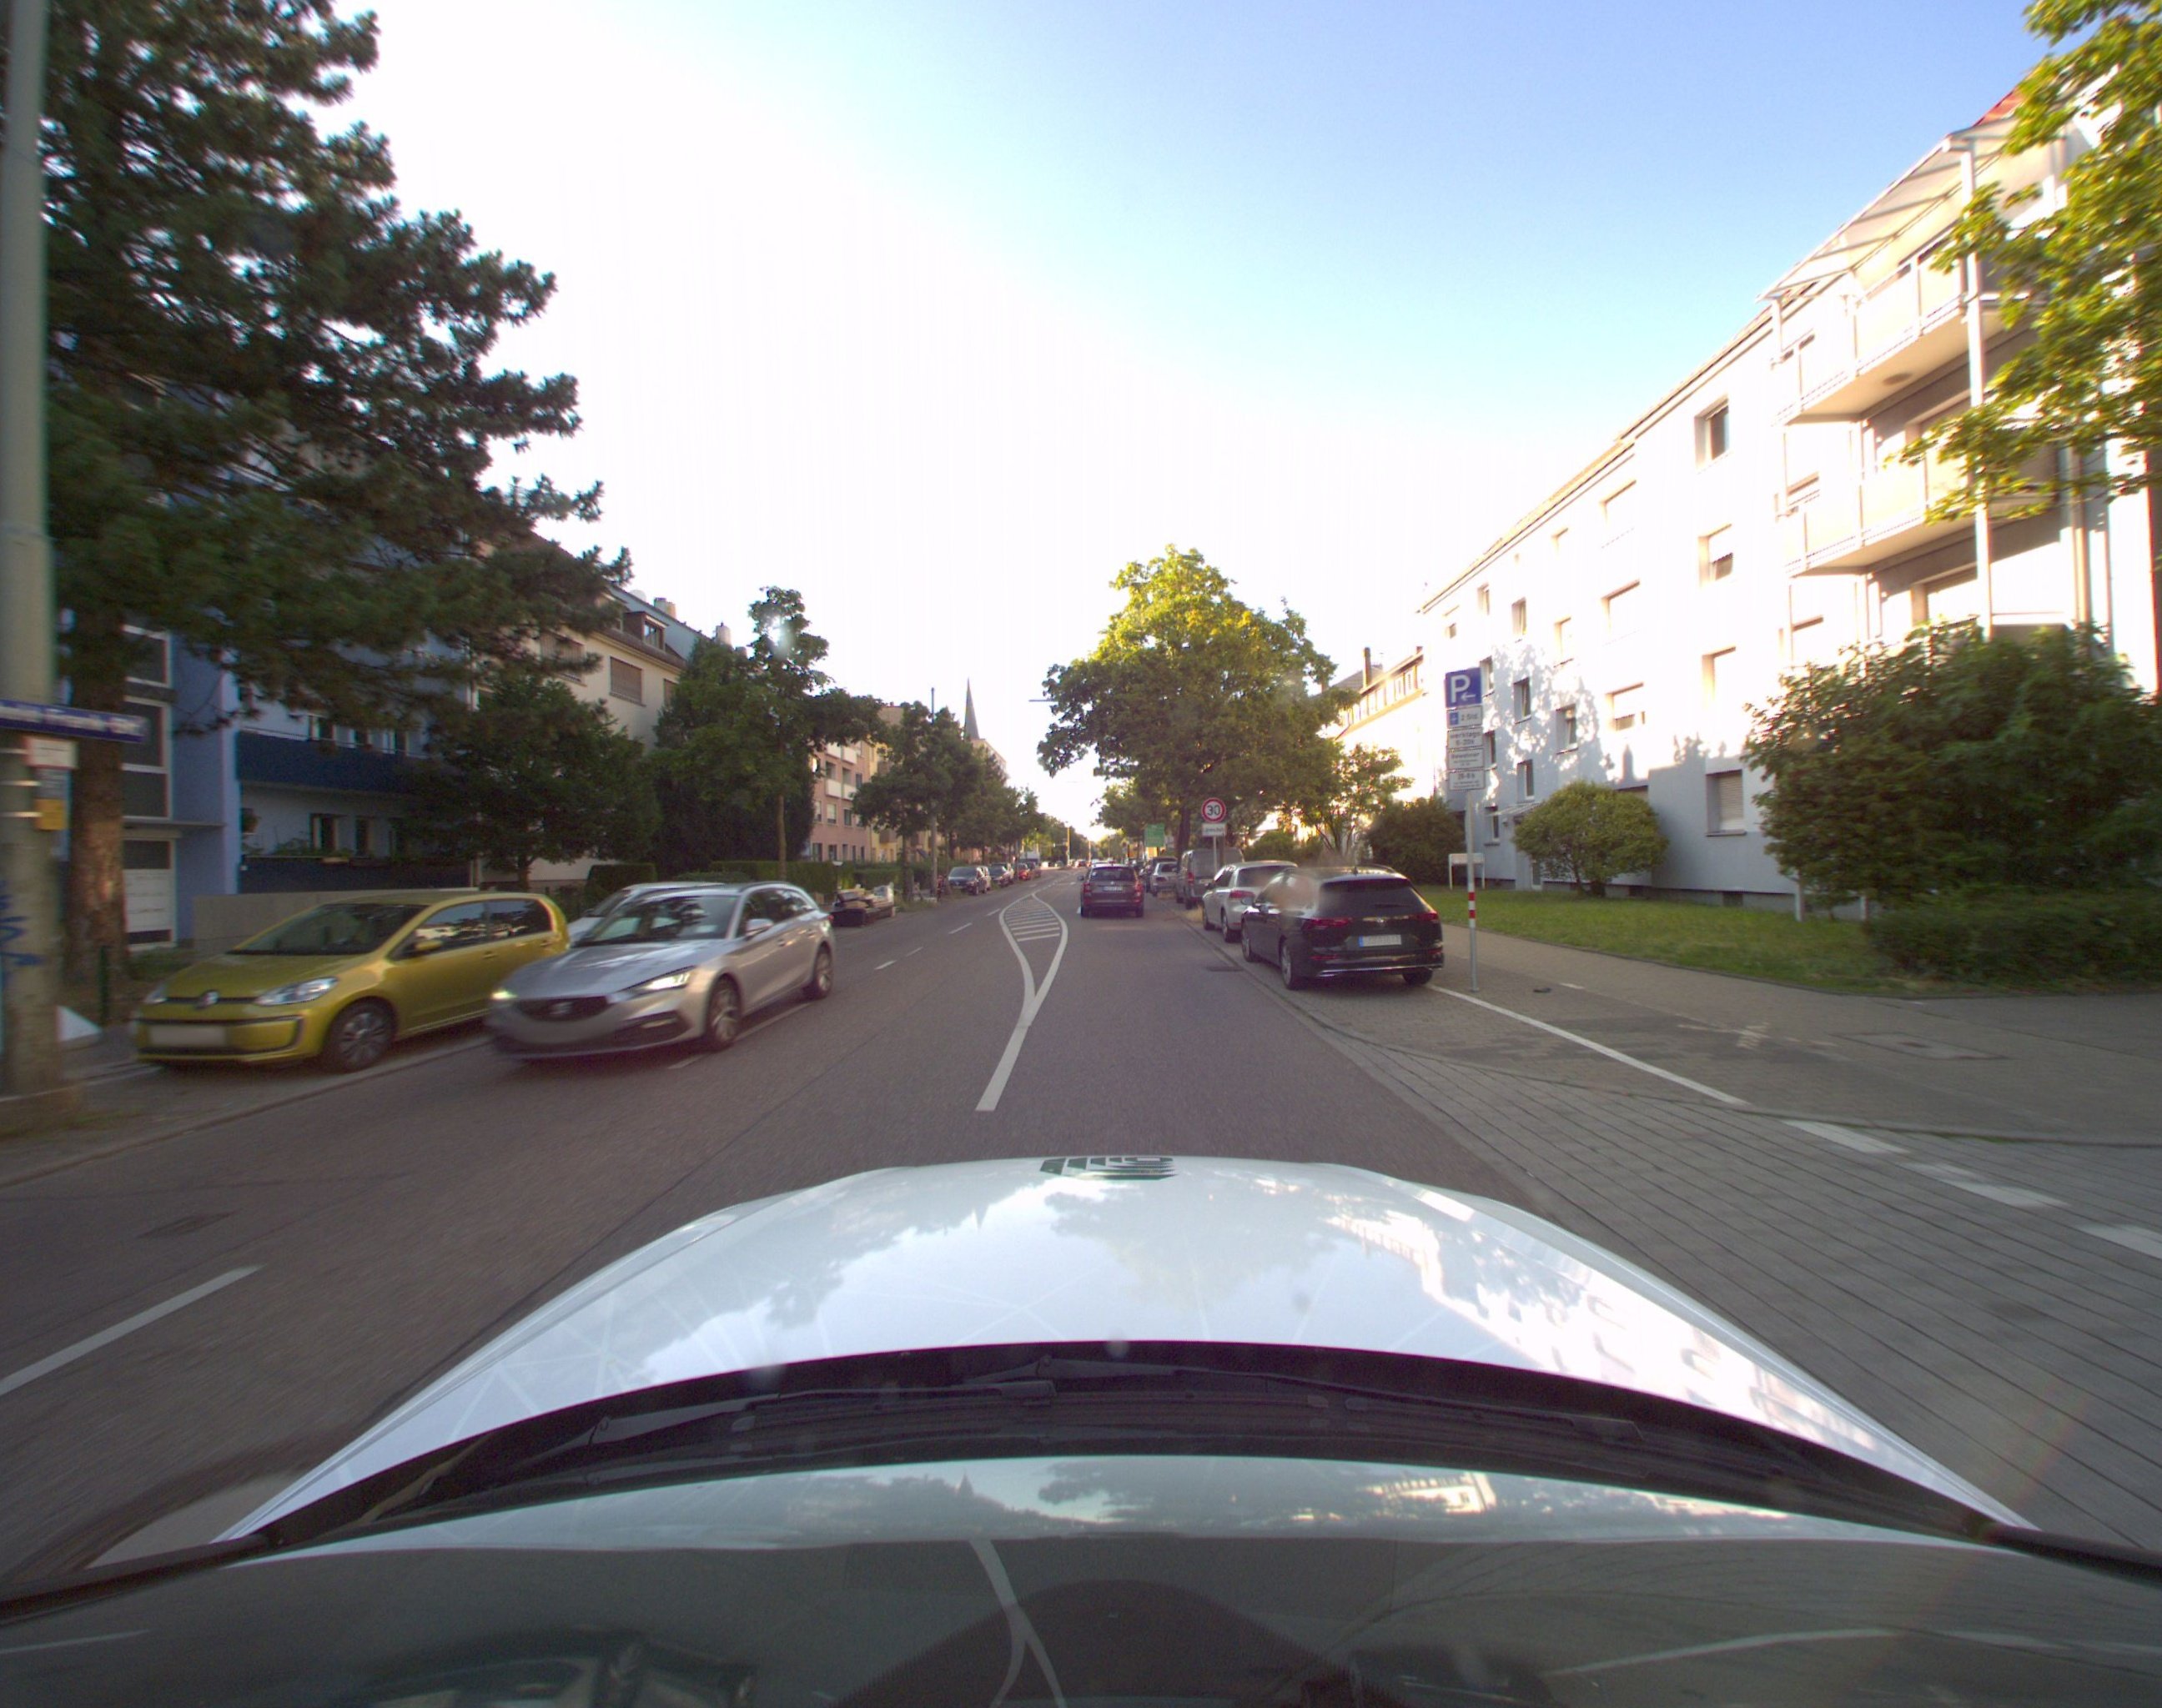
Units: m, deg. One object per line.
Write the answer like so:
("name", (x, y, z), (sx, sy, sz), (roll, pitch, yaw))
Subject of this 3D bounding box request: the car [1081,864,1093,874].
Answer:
("car", (0.975, 2.384, 129.410), (1.776, 1.480, 3.968), (0, 0, -2))

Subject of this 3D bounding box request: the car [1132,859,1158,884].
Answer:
("car", (4.616, 1.233, 58.956), (1.747, 1.806, 4.003), (0, 0, 3))

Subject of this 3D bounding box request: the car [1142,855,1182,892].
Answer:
("car", (3.902, 0.903, 39.629), (1.747, 1.715, 4.003), (0, 0, 3))

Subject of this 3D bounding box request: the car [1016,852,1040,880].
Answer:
("car", (-5.302, 1.194, 82.541), (1.984, 2.781, 5.504), (0, 0, 1))

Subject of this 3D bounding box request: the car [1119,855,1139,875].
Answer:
("car", (4.443, 1.009, 75.775), (1.747, 1.806, 4.002), (0, 0, 2))

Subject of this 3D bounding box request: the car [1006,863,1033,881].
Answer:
("car", (-5.284, 1.502, 69.967), (1.773, 1.480, 3.974), (0, 0, 4))

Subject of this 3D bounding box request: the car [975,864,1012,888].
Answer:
("car", (-5.734, 1.437, 53.798), (1.773, 1.480, 3.974), (0, 0, 4))

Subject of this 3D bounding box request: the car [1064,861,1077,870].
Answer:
("car", (-2.154, 2.313, 167.697), (1.995, 1.750, 3.983), (-1, -1, -12))

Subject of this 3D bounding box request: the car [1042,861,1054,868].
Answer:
("car", (-7.692, 2.399, 191.183), (1.652, 1.599, 3.572), (-1, -1, -23))

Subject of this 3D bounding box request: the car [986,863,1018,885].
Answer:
("car", (-5.732, 1.434, 59.498), (1.773, 1.480, 3.974), (0, 0, 4))

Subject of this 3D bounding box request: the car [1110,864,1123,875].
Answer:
("car", (5.359, 2.402, 123.291), (1.641, 1.599, 3.645), (-2, -1, -4))

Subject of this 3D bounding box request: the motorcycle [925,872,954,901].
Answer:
("motorcycle", (-6.130, 1.393, 35.318), (0.736, 1.204, 2.144), (0, 0, 4))

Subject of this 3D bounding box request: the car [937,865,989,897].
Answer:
("car", (-5.920, 1.334, 41.278), (1.773, 1.480, 4.037), (0, 0, 4))

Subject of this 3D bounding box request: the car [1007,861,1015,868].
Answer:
("car", (-18.101, 2.711, 209.988), (1.991, 1.750, 3.991), (-2, -1, -6))

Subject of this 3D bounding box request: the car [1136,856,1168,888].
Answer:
("car", (4.098, 1.020, 47.600), (1.747, 1.806, 4.003), (0, 0, 3))

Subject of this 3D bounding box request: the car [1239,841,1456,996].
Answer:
("car", (3.322, 0.717, 11.031), (1.747, 1.686, 4.255), (0, 0, 3))

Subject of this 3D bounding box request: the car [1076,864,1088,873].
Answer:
("car", (0.187, 2.807, 158.263), (1.990, 1.750, 3.994), (-2, -1, -4))

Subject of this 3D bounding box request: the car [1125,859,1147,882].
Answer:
("car", (4.720, 1.428, 70.365), (1.747, 1.806, 4.003), (-4, -1, 3))

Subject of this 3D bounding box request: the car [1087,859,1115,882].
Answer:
("car", (1.448, 1.217, 59.349), (1.885, 1.506, 3.790), (2, -1, 1))

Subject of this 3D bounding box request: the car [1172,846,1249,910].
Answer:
("car", (4.131, 0.726, 26.925), (1.908, 1.860, 5.637), (-1, 0, 3))

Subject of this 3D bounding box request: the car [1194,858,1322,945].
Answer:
("car", (3.479, 0.863, 16.703), (1.748, 1.557, 4.104), (0, 0, 0))

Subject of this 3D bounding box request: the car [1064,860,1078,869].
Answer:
("car", (-2.296, 2.304, 179.772), (1.998, 1.750, 3.977), (-1, -1, -17))

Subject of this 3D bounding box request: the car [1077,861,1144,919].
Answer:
("car", (0.876, 0.946, 23.205), (1.747, 1.492, 4.003), (0, 0, 3))

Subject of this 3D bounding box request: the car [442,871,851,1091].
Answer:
("car", (-3.934, 1.013, 8.384), (1.733, 1.479, 4.310), (-5, 0, 1))

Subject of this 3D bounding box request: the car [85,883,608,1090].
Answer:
("car", (-6.834, 1.088, 8.255), (1.612, 1.480, 3.875), (0, 0, 4))

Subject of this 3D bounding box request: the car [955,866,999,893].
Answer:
("car", (-6.004, 1.446, 47.360), (1.773, 1.480, 3.974), (0, 0, 4))

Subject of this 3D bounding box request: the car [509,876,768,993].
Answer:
("car", (-6.779, 1.146, 13.041), (1.773, 1.494, 3.974), (0, 0, 4))
